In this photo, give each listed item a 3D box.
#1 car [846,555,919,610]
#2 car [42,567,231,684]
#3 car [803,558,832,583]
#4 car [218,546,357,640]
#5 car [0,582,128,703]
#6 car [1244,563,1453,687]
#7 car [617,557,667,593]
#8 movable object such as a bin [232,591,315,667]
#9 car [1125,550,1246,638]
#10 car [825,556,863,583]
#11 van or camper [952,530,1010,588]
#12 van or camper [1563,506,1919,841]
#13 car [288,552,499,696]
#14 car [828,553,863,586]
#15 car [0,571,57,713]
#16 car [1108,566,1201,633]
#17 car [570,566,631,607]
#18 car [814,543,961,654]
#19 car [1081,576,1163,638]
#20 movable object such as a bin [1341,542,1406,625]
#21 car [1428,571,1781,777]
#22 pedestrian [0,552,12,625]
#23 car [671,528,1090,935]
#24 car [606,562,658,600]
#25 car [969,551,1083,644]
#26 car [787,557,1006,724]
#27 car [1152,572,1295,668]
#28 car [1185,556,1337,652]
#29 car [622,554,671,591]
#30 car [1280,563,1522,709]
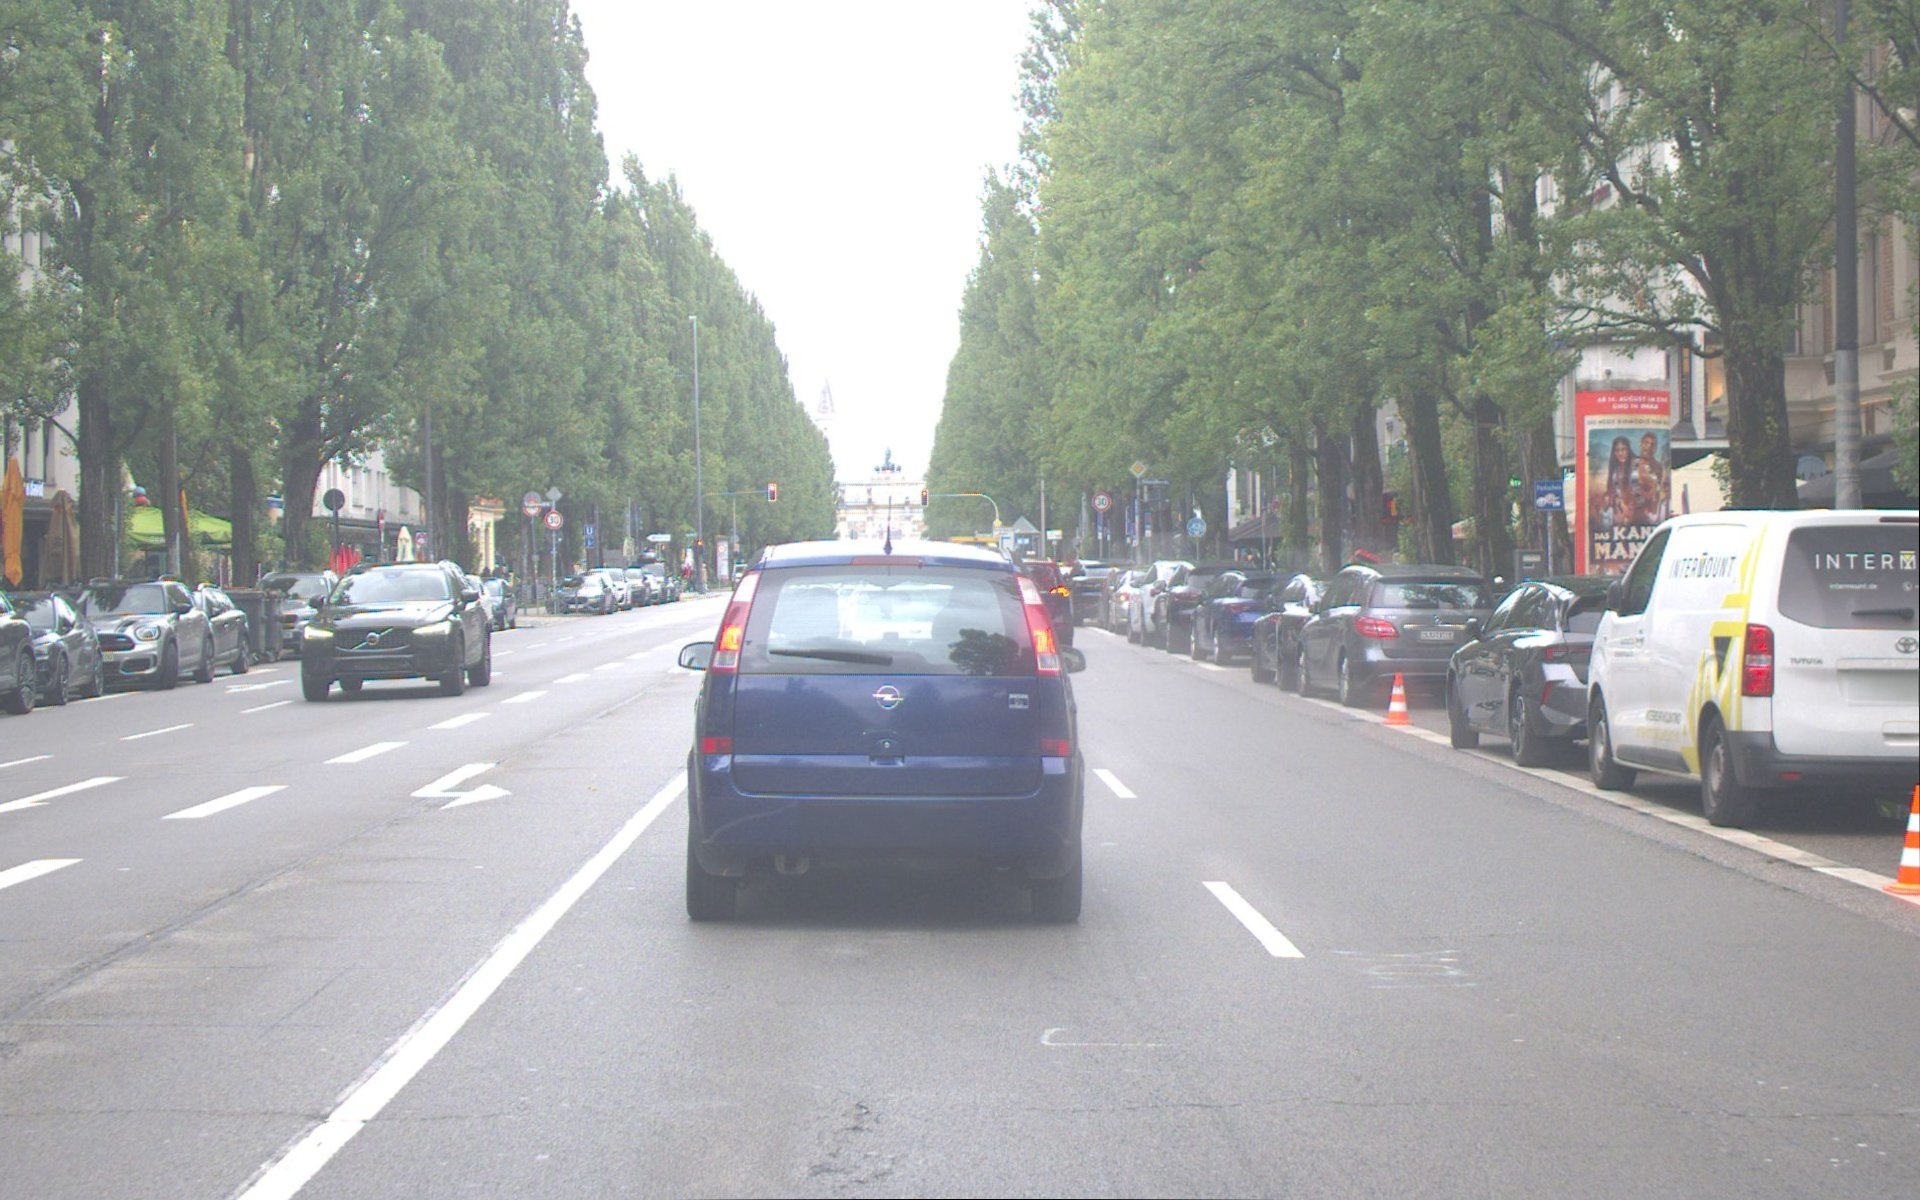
[{"bbox_3d":[-2.189,-0.500,96.363,1.993,1.492,4.000,-1,1,-2],"label":"car"},{"bbox_3d":[-11.783,0.327,49.423,1.782,1.570,4.133,-1,1,-1],"label":"car"},{"bbox_3d":[-9.625,-1.982,232.318,1.835,1.671,3.779,-1,1,-2],"label":"car"},{"bbox_3d":[-12.934,-0.151,66.336,1.864,1.649,4.616,-3,1,-2],"label":"car"},{"bbox_3d":[-11.973,0.529,44.194,1.684,1.419,4.689,-3,1,-4],"label":"car"},{"bbox_3d":[4.808,0.269,43.151,1.878,1.427,4.805,-1,1,-2],"label":"car"},{"bbox_3d":[-14.160,-1.137,153.440,1.961,1.543,3.779,-1,1,-2],"label":"car"},{"bbox_3d":[-12.140,0.506,60.810,1.277,1.305,0.902,1,1,-1],"label":"movable object such as a bin"},{"bbox_3d":[4.267,-0.139,65.650,1.827,1.615,4.748,1,1,-2],"label":"car"},{"bbox_3d":[-6.080,-1.599,180.401,1.961,1.395,3.779,-1,1,-2],"label":"car"},{"bbox_3d":[0.943,-1.873,158.126,2.476,2.572,5.844,-1,1,-1],"label":"van or camper"},{"bbox_3d":[5.226,0.381,21.686,1.868,1.876,4.903,0,1,-1],"label":"van or camper"},{"bbox_3d":[-6.963,0.260,42.670,1.935,1.618,4.337,-2,1,-1],"label":"car"},{"bbox_3d":[-6.225,-1.685,186.927,1.835,1.755,3.779,-1,1,-2],"label":"car"},{"bbox_3d":[-11.763,0.502,39.072,1.803,1.589,4.631,-2,1,-1],"label":"car"},{"bbox_3d":[4.269,-0.036,75.962,1.670,1.401,4.128,1,1,-2],"label":"car"},{"bbox_3d":[-12.622,-0.498,120.899,1.830,1.415,3.811,0,0,-1],"label":"car"},{"bbox_3d":[-1.063,-0.047,49.132,1.993,1.492,4.000,-1,1,-2],"label":"car"},{"bbox_3d":[3.898,0.152,83.037,1.681,1.410,3.583,1,1,-2],"label":"car"},{"bbox_3d":[8.642,-0.352,71.877,1.032,1.697,1.587,-1,1,-5],"label":"movable object such as a bin"},{"bbox_3d":[4.959,0.518,27.049,1.719,1.437,4.354,1,1,-3],"label":"car"},{"bbox_3d":[-23.178,-0.281,81.933,0.851,1.738,1.148,-1,1,-1],"label":"pedestrian"},{"bbox_3d":[-0.390,0.501,15.831,1.681,1.635,4.000,0,1,-2],"label":"car"},{"bbox_3d":[-13.731,-0.814,144.190,1.961,1.525,4.000,-1,1,-2],"label":"car"},{"bbox_3d":[1.135,-0.069,60.470,1.706,1.568,4.001,-1,1,-3],"label":"car"},{"bbox_3d":[-0.655,0.347,33.638,1.993,1.492,4.000,-1,1,-2],"label":"car"},{"bbox_3d":[4.558,0.323,60.096,1.993,1.560,4.484,-1,1,-2],"label":"car"},{"bbox_3d":[4.638,0.035,53.453,1.749,1.400,4.465,-1,1,-3],"label":"car"},{"bbox_3d":[-14.593,-1.283,160.257,1.993,1.656,4.000,-1,1,-2],"label":"car"},{"bbox_3d":[4.810,0.352,38.045,1.816,1.501,4.233,-1,1,-4],"label":"car"}]
